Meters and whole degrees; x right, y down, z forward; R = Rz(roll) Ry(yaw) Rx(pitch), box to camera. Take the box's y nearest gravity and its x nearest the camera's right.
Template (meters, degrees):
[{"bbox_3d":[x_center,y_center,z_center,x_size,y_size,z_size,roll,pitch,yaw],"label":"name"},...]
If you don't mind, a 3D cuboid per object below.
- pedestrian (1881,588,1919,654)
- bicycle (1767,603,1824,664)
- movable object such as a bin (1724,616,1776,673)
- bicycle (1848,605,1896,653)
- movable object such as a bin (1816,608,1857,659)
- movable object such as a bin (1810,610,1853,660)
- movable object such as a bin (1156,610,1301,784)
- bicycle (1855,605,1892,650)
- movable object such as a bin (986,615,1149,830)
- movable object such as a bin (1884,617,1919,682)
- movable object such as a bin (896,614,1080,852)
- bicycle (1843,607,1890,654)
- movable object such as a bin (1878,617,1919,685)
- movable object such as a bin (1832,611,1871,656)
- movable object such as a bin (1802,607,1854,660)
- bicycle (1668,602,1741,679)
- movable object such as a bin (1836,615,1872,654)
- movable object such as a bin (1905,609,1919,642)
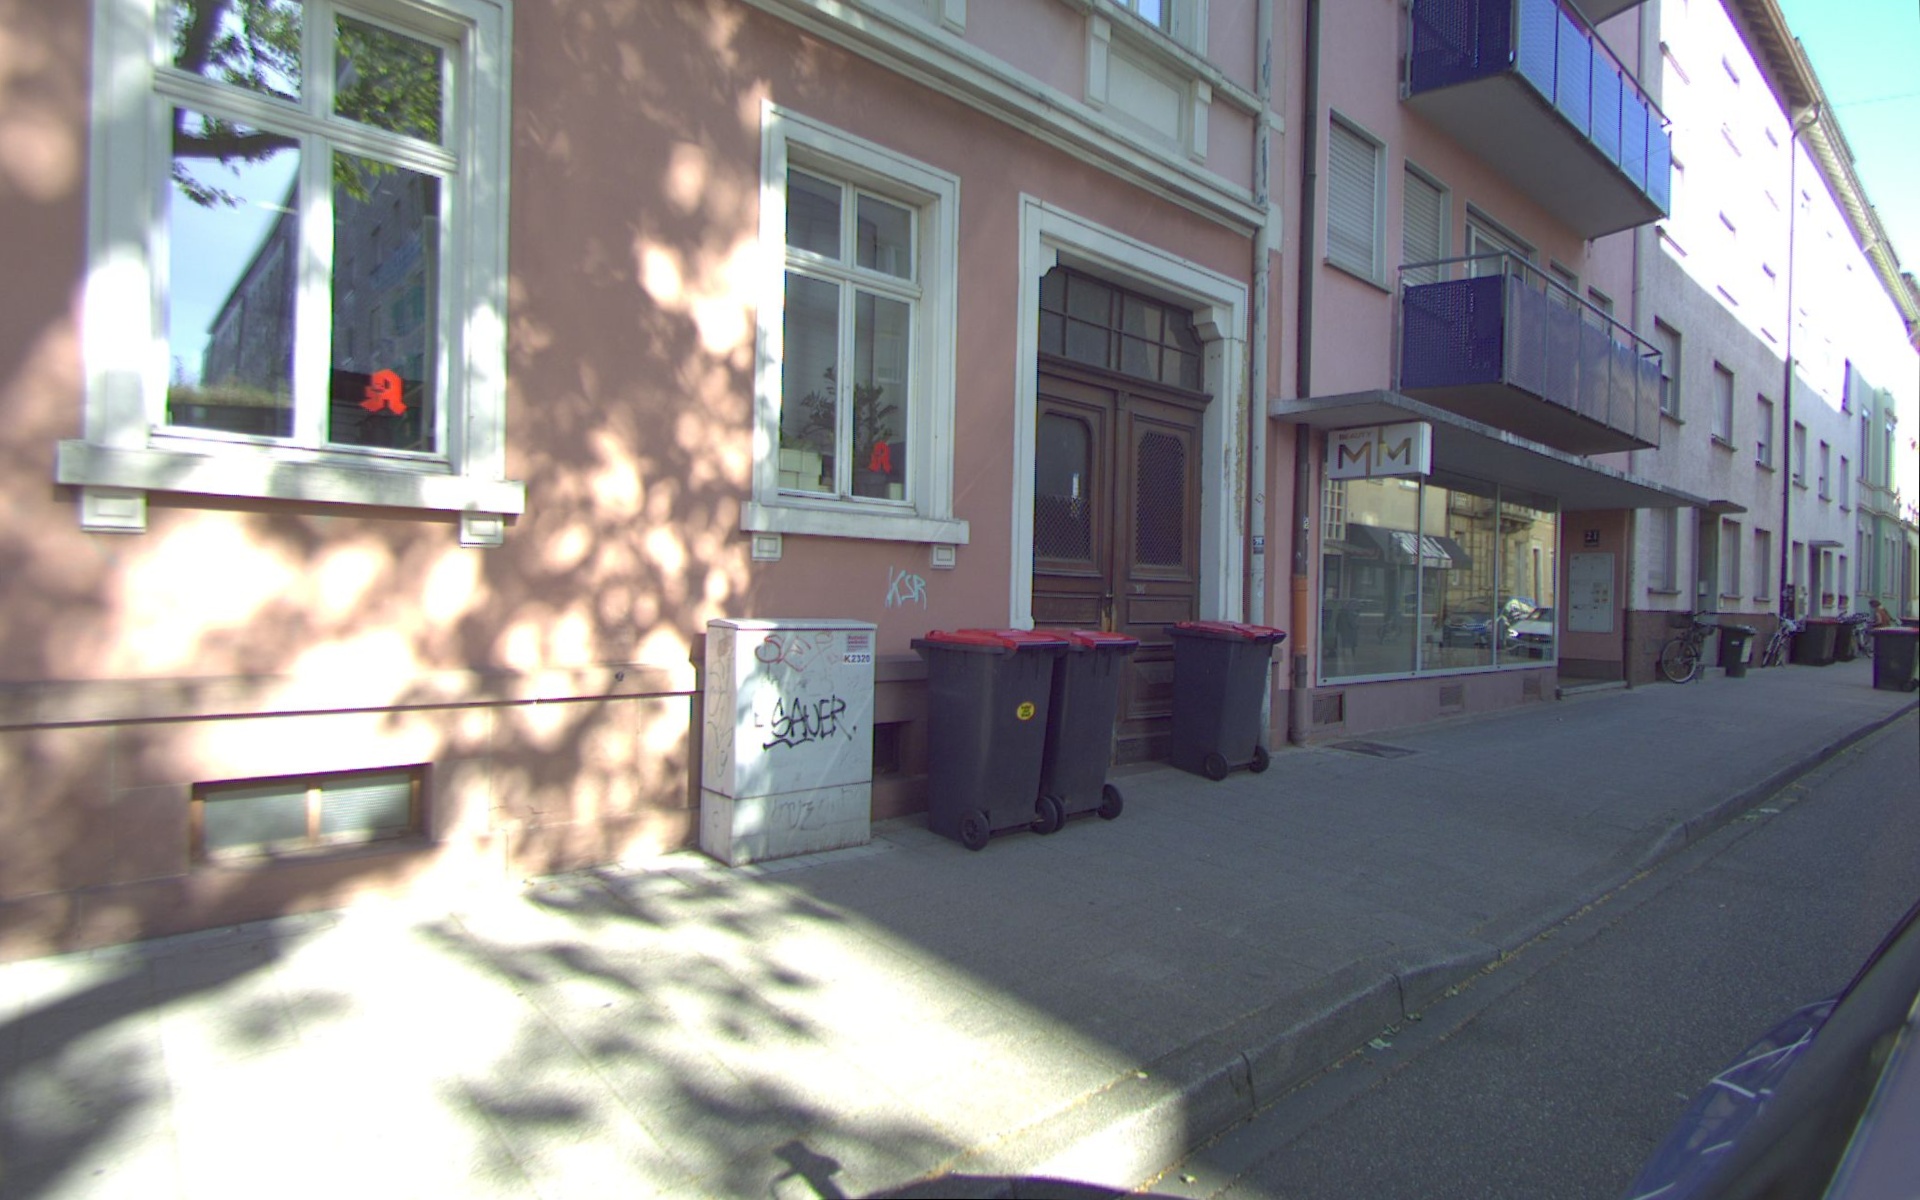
[{"bbox_3d":[25.142,0.551,26.992,0.672,1.733,0.658,0,1,-29],"label":"pedestrian"},{"bbox_3d":[17.555,0.681,21.250,2.040,1.184,0.538,1,4,-42],"label":"bicycle"},{"bbox_3d":[14.040,0.776,17.983,0.670,0.963,0.599,0,1,-40],"label":"movable object such as a bin"},{"bbox_3d":[24.771,0.767,27.481,2.223,1.221,0.439,0,1,-35],"label":"bicycle"},{"bbox_3d":[20.545,0.777,23.724,0.559,1.136,0.629,0,1,-40],"label":"movable object such as a bin"},{"bbox_3d":[20.123,0.805,23.368,0.582,1.119,0.658,1,0,-40],"label":"movable object such as a bin"},{"bbox_3d":[1.898,0.644,7.164,0.681,1.118,0.730,0,1,-43],"label":"movable object such as a bin"},{"bbox_3d":[25.674,0.757,28.445,2.120,1.221,0.406,0,1,-38],"label":"bicycle"},{"bbox_3d":[0.604,0.647,5.735,0.586,1.086,0.703,0,1,-39],"label":"movable object such as a bin"},{"bbox_3d":[16.583,0.855,17.543,0.691,1.094,0.734,0,1,-40],"label":"movable object such as a bin"},{"bbox_3d":[0.140,0.642,5.322,0.623,1.099,0.747,0,1,-39],"label":"movable object such as a bin"},{"bbox_3d":[23.979,0.782,26.761,1.833,1.168,0.570,0,1,-37],"label":"bicycle"},{"bbox_3d":[16.064,0.852,17.071,0.681,1.100,0.769,0,1,-40],"label":"movable object such as a bin"},{"bbox_3d":[22.548,0.847,25.595,0.592,1.075,0.617,1,2,-41],"label":"movable object such as a bin"},{"bbox_3d":[19.697,0.752,22.968,0.628,1.110,0.741,0,3,-40],"label":"movable object such as a bin"},{"bbox_3d":[11.975,0.628,16.259,1.885,1.148,0.454,0,3,-40],"label":"bicycle"},{"bbox_3d":[22.979,0.888,26.011,0.597,0.936,0.578,1,3,-41],"label":"movable object such as a bin"},{"bbox_3d":[33.700,0.895,35.427,0.661,1.102,0.814,0,1,-39],"label":"movable object such as a bin"}]
